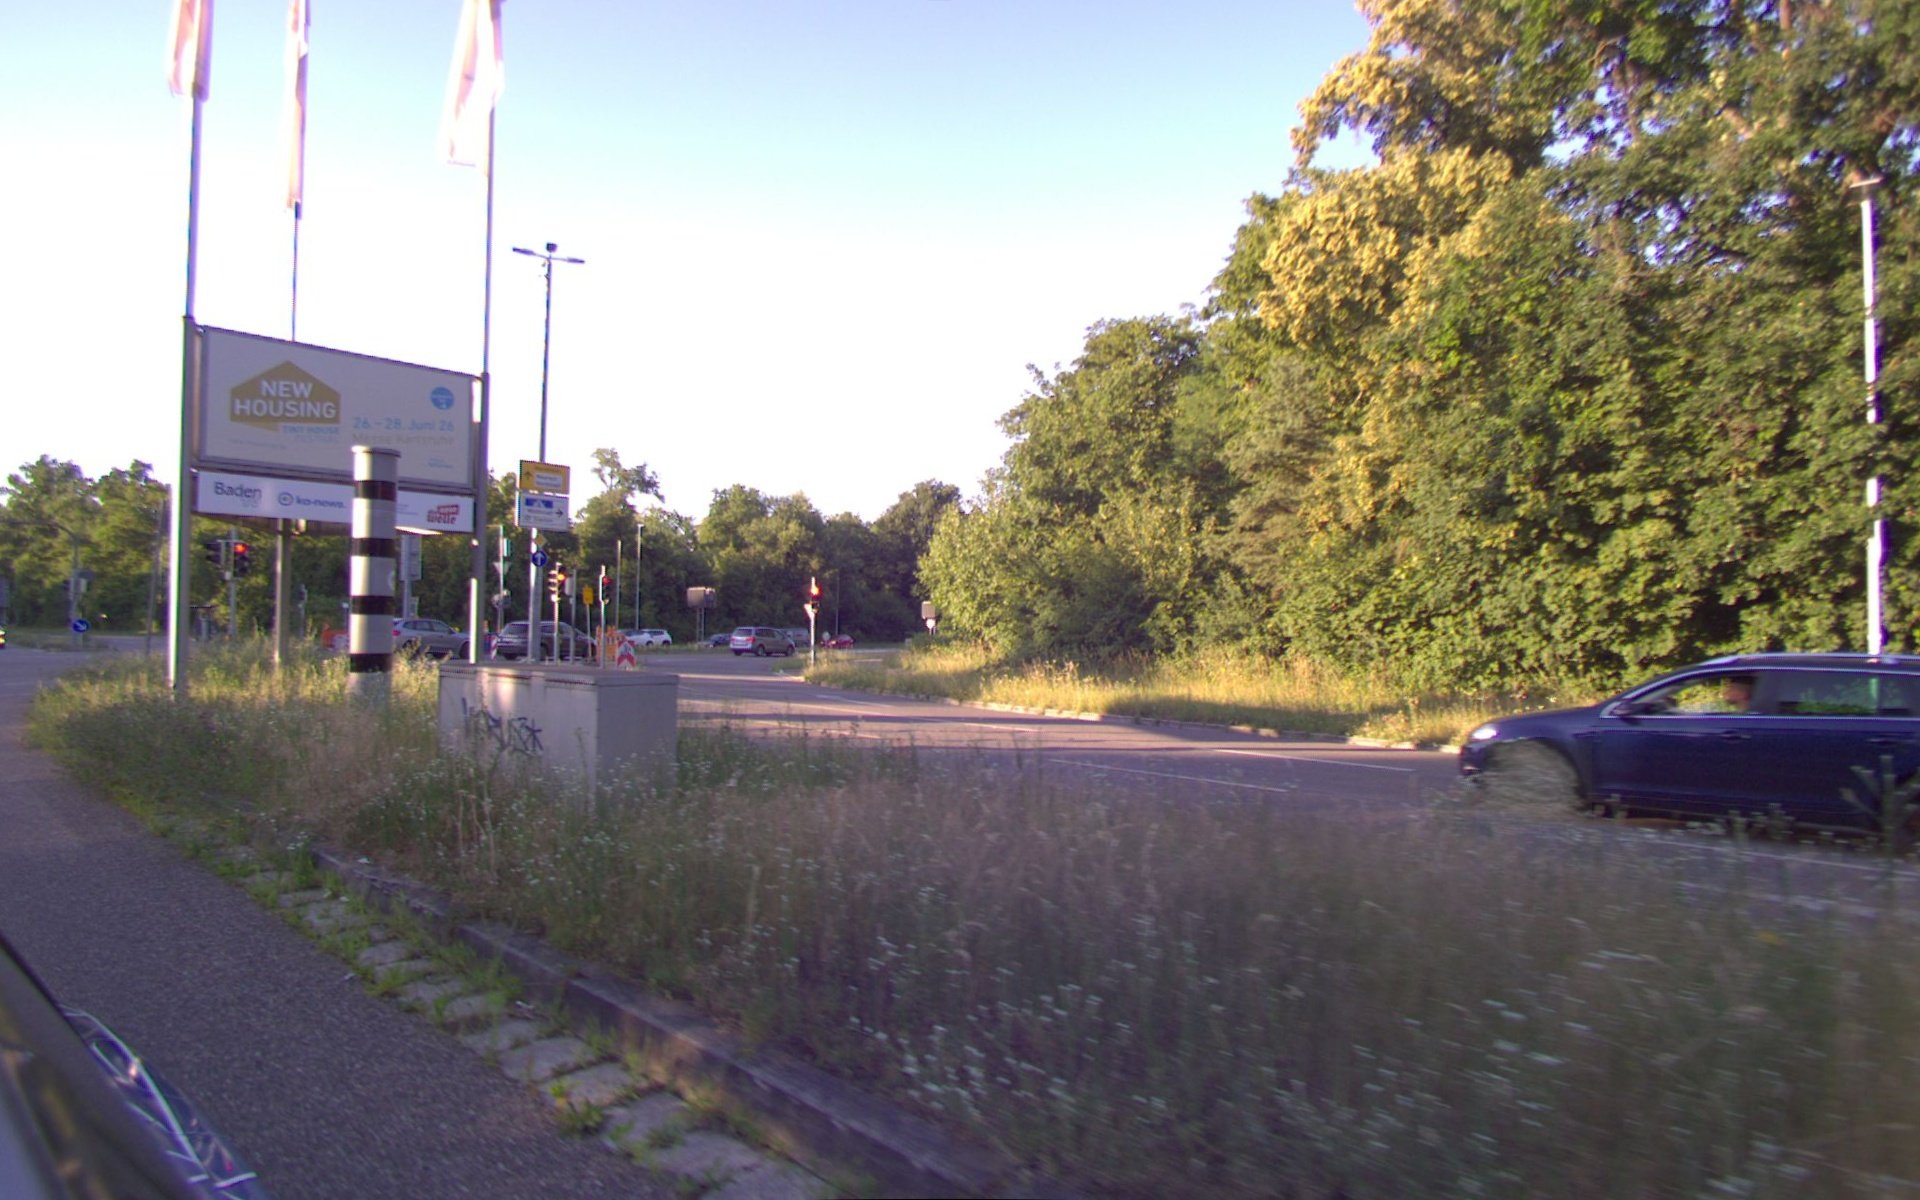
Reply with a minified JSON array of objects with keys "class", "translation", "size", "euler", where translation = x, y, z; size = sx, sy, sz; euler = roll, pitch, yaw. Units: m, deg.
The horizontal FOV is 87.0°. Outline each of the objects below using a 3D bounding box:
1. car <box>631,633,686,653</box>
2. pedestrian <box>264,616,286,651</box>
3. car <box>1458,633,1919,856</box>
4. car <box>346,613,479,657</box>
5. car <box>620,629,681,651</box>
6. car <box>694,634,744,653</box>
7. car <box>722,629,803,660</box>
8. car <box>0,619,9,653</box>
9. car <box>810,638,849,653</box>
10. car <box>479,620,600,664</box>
[{"class":"car","translation":[-22.936,3.289,77.161],"size":[1.712,1.467,4.197],"euler":[0,-2,25]},{"class":"pedestrian","translation":[-35.956,1.767,53.157],"size":[0.568,1.814,0.748],"euler":[0,-2,7]},{"class":"car","translation":[6.796,1.104,8.424],"size":[4.454,1.545,1.800],"euler":[-1,-4,42]},{"class":"car","translation":[-21.987,1.408,40.838],"size":[1.989,1.636,4.358],"euler":[0,-2,26]},{"class":"car","translation":[-21.599,2.792,70.824],"size":[1.712,1.467,4.197],"euler":[0,-2,25]},{"class":"car","translation":[-19.792,3.534,83.214],"size":[1.712,1.467,4.363],"euler":[0,-2,25]},{"class":"car","translation":[-11.769,2.647,60.544],"size":[1.870,1.738,4.598],"euler":[-2,-3,39]},{"class":"car","translation":[-44.878,1.613,46.033],"size":[3.999,1.531,1.975],"euler":[-1,-2,42]},{"class":"car","translation":[-12.789,4.421,99.447],"size":[1.873,1.432,4.198],"euler":[0,-2,24]},{"class":"car","translation":[-17.876,1.816,43.294],"size":[1.998,1.674,4.787],"euler":[2,-2,21]}]
